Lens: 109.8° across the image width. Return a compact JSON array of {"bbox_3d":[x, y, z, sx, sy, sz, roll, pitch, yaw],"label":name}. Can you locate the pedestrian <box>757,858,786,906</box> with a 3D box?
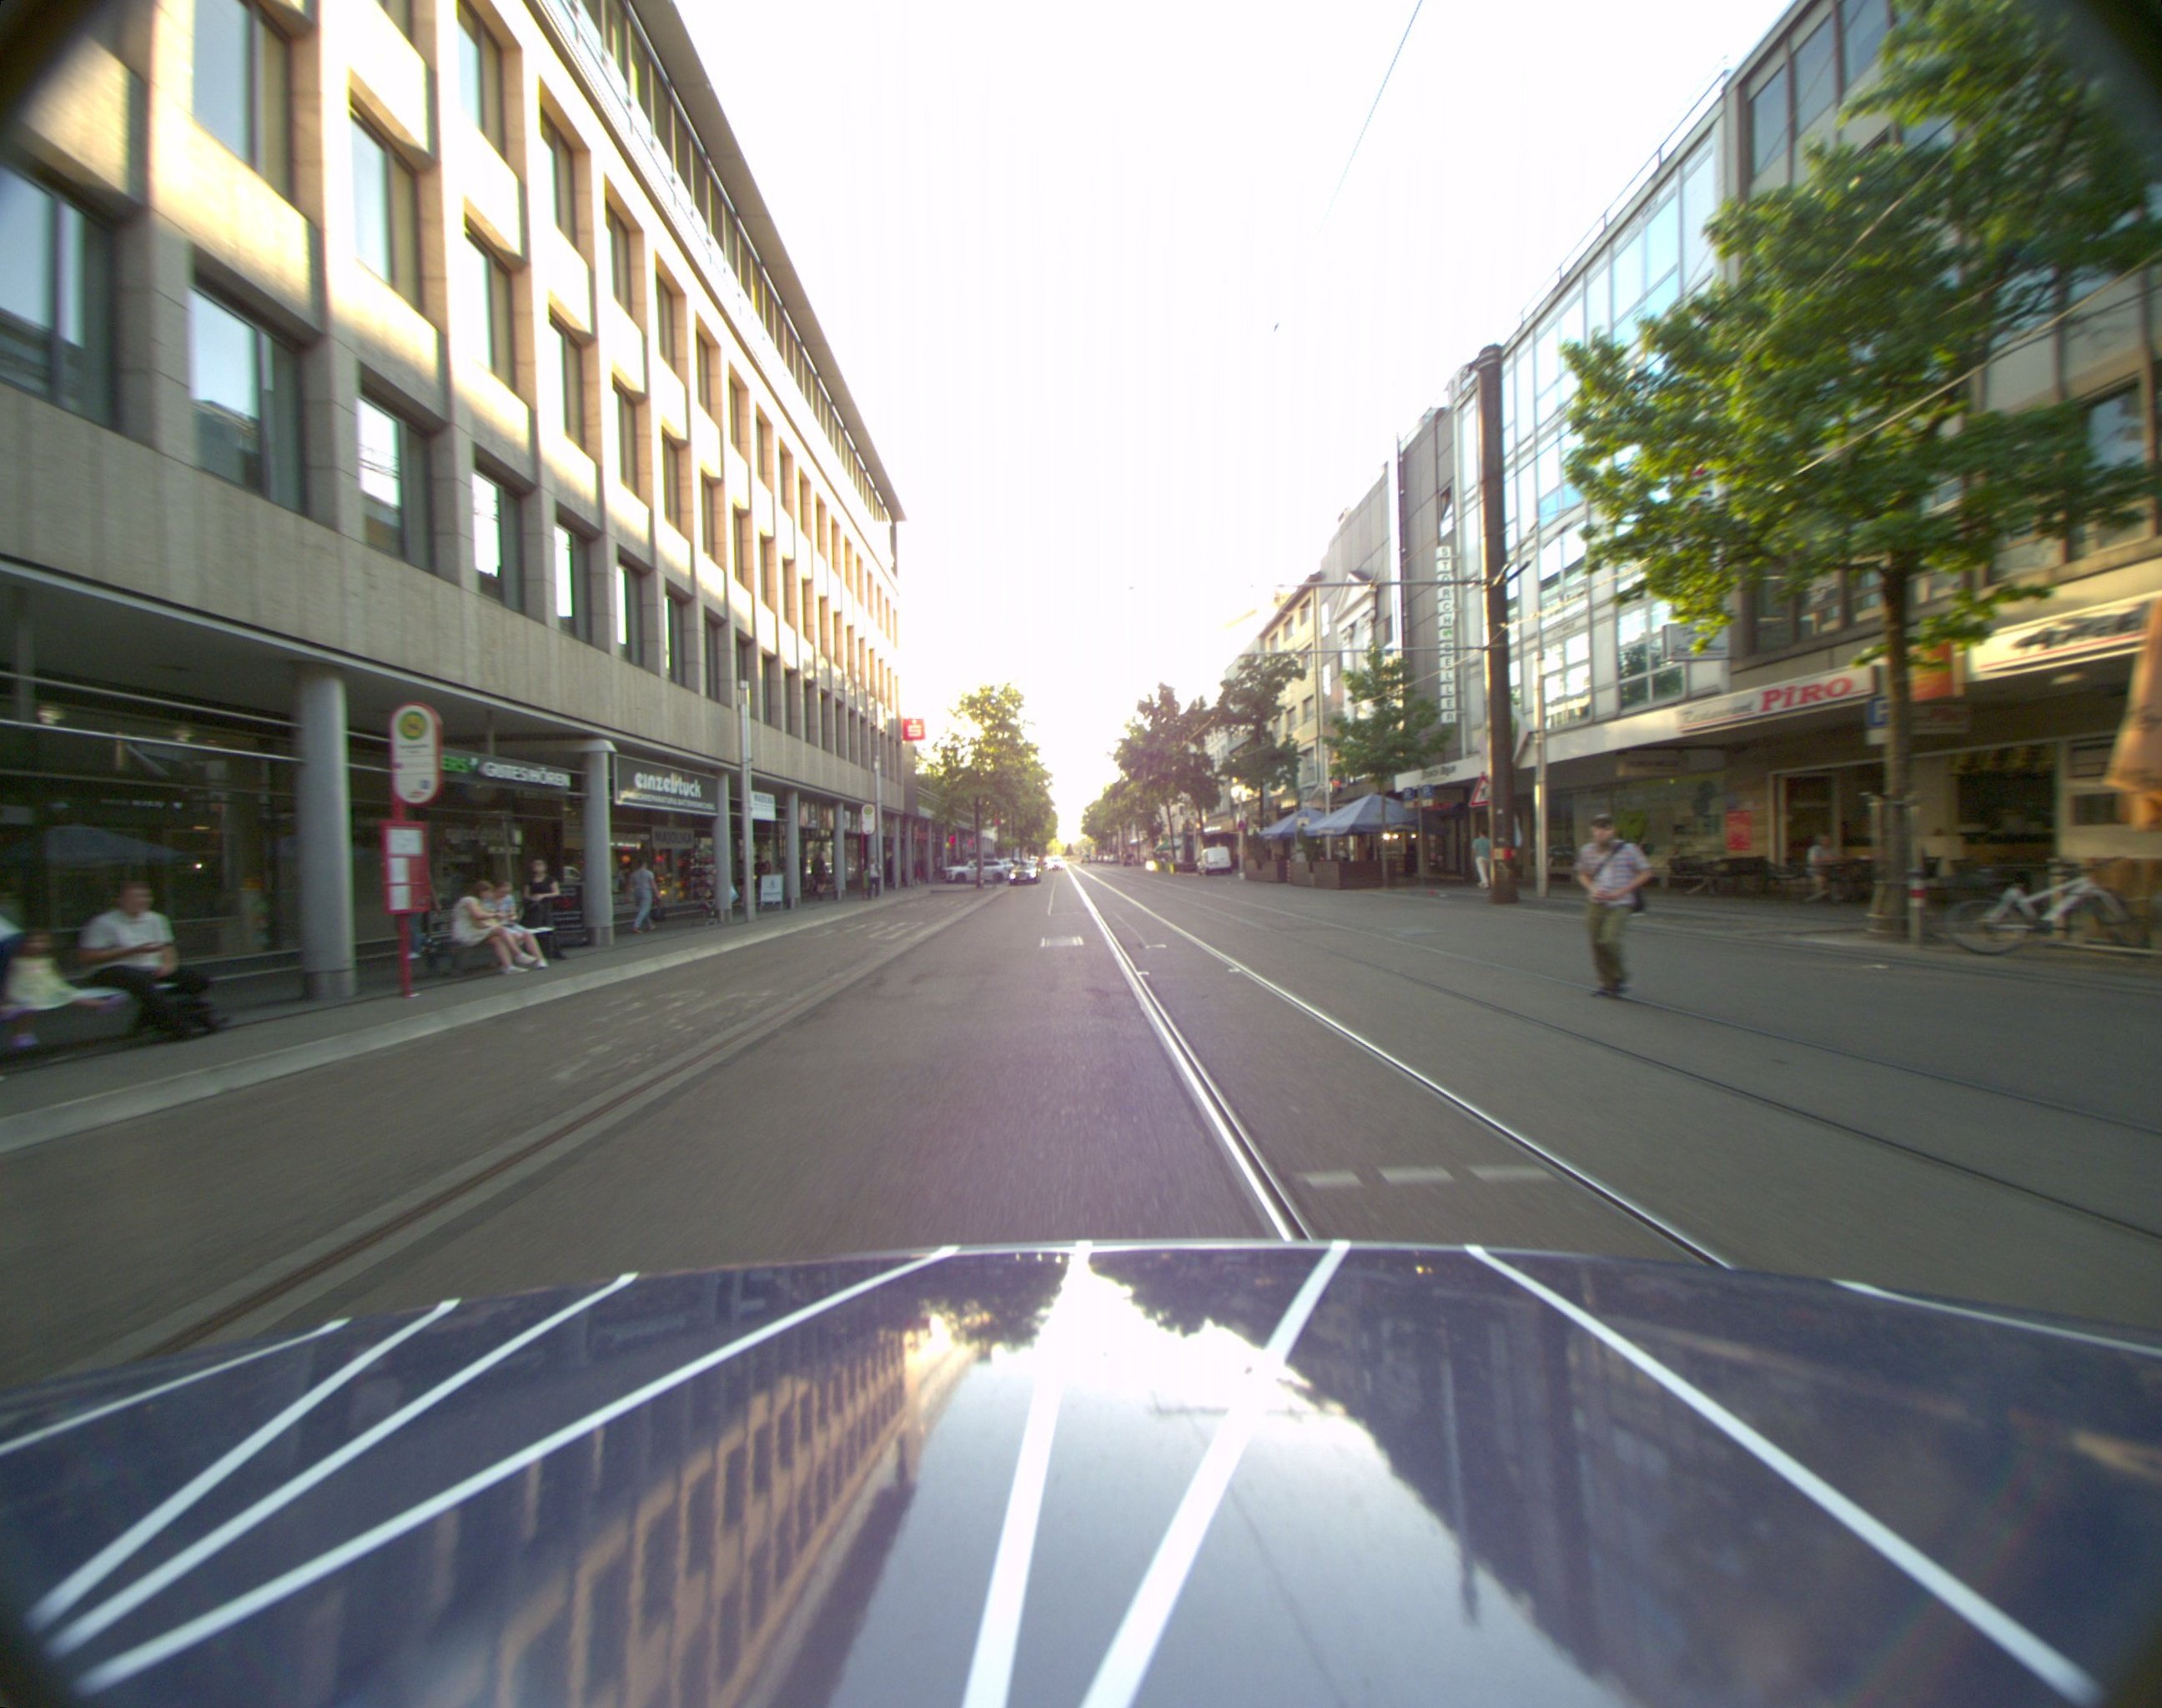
[{"bbox_3d":[-10.722,0.955,26.348,0.682,1.634,0.788,-1,1,-2],"label":"pedestrian"}]

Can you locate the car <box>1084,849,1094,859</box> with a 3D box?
[{"bbox_3d":[1.668,0.068,159.201,1.999,2.002,4.000,-1,0,-1],"label":"car"}]

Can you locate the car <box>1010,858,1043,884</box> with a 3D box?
[{"bbox_3d":[-3.402,1.037,48.067,1.799,1.400,4.564,-3,0,-1],"label":"car"}]

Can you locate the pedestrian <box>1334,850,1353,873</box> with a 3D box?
[{"bbox_3d":[13.520,0.371,39.104,0.642,1.150,0.665,-4,1,-3],"label":"pedestrian"}]

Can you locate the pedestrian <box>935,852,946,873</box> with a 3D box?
[{"bbox_3d":[-11.240,0.668,60.699,0.629,1.681,0.556,-2,2,-45],"label":"pedestrian"}]

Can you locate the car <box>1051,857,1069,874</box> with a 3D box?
[{"bbox_3d":[-2.556,1.373,92.617,1.999,2.002,4.000,-1,0,-1],"label":"car"}]

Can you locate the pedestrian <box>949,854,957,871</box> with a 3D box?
[{"bbox_3d":[-12.164,0.802,72.216,0.558,1.681,0.628,-1,1,-1],"label":"pedestrian"}]

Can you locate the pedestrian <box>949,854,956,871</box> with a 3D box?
[{"bbox_3d":[-12.509,0.800,73.821,0.558,1.681,0.628,-1,1,-1],"label":"pedestrian"}]

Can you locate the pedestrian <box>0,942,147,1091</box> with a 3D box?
[{"bbox_3d":[-8.067,1.251,5.929,0.815,1.036,0.544,-2,1,0],"label":"pedestrian"}]

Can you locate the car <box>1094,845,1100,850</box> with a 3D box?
[{"bbox_3d":[4.833,-2.087,232.816,1.799,1.501,4.000,-1,0,0],"label":"car"}]

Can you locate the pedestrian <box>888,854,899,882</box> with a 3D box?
[{"bbox_3d":[-12.021,0.897,48.689,0.558,1.762,0.628,-1,1,-1],"label":"pedestrian"}]

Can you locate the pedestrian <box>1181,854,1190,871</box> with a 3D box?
[{"bbox_3d":[9.030,0.694,65.808,0.649,1.451,0.651,-1,1,16],"label":"pedestrian"}]

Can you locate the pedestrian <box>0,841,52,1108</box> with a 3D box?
[{"bbox_3d":[-7.728,0.830,5.108,0.641,1.829,0.667,-1,1,0],"label":"pedestrian"}]

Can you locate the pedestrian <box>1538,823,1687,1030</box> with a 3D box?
[{"bbox_3d":[5.100,0.643,7.297,0.992,1.782,0.820,-5,1,-37],"label":"pedestrian"}]

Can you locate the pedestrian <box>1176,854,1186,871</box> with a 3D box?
[{"bbox_3d":[8.536,0.721,65.014,0.648,1.451,0.651,-1,1,29],"label":"pedestrian"}]

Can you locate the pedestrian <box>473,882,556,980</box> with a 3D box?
[{"bbox_3d":[-8.033,1.077,10.790,0.720,1.307,0.524,-2,1,0],"label":"pedestrian"}]

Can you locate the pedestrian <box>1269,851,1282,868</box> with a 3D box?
[{"bbox_3d":[13.523,0.367,52.714,0.650,1.168,0.650,-2,1,-6],"label":"pedestrian"}]

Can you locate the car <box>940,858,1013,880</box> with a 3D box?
[{"bbox_3d":[-7.259,1.039,52.965,4.645,1.431,1.914,0,0,-28],"label":"car"}]

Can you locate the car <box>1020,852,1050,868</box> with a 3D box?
[{"bbox_3d":[-6.034,0.803,99.983,1.860,1.776,4.007,-4,1,34],"label":"car"}]

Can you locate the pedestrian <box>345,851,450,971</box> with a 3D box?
[{"bbox_3d":[-11.139,0.899,12.415,0.846,1.878,0.899,-1,1,-1],"label":"pedestrian"}]

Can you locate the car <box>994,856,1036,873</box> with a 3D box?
[{"bbox_3d":[-7.123,1.109,82.423,4.005,1.501,1.861,-4,1,-31],"label":"car"}]

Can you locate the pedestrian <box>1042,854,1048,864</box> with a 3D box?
[{"bbox_3d":[-5.024,0.691,105.678,0.650,1.451,0.649,-2,1,-18],"label":"pedestrian"}]

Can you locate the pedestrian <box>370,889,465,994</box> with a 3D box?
[{"bbox_3d":[-8.829,1.145,10.125,0.720,1.307,0.532,-2,1,0],"label":"pedestrian"}]

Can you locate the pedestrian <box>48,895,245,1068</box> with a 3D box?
[{"bbox_3d":[-8.133,1.077,6.649,0.815,1.373,0.662,-2,1,0],"label":"pedestrian"}]

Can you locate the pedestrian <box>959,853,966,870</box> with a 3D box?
[{"bbox_3d":[-11.631,0.760,74.652,0.618,1.681,0.628,-1,1,-1],"label":"pedestrian"}]

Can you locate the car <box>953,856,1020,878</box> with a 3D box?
[{"bbox_3d":[-7.131,0.975,57.600,4.646,1.578,1.913,0,0,-35],"label":"car"}]

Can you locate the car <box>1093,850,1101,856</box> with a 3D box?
[{"bbox_3d":[3.784,-0.220,185.552,1.799,1.501,4.000,-1,0,0],"label":"car"}]

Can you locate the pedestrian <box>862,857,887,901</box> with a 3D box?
[{"bbox_3d":[-7.619,0.912,28.094,0.670,1.579,0.638,-3,1,-2],"label":"pedestrian"}]

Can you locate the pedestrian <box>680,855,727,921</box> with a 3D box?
[{"bbox_3d":[-10.512,0.938,21.177,0.846,1.787,0.858,-1,1,-1],"label":"pedestrian"}]

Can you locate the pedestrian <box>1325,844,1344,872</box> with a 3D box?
[{"bbox_3d":[13.617,0.224,40.870,0.662,1.426,0.643,-6,2,-1],"label":"pedestrian"}]

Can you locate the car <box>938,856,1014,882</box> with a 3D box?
[{"bbox_3d":[-6.921,0.992,50.270,4.646,1.619,1.914,1,-2,-33],"label":"car"}]

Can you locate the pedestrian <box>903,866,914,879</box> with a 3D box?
[{"bbox_3d":[-12.202,1.299,53.703,0.627,0.876,0.558,-1,1,-1],"label":"pedestrian"}]

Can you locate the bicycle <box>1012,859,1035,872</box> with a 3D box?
[{"bbox_3d":[-4.769,0.966,63.324,1.861,1.067,0.734,-2,-1,34],"label":"bicycle"}]

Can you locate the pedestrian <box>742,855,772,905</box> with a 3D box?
[{"bbox_3d":[-11.693,0.922,27.452,0.675,1.762,0.863,-1,1,-2],"label":"pedestrian"}]

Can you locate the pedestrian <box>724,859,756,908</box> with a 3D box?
[{"bbox_3d":[-11.656,0.987,26.024,0.712,1.634,0.818,-1,1,-2],"label":"pedestrian"}]

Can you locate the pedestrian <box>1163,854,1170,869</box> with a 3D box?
[{"bbox_3d":[8.116,0.706,72.241,0.649,1.378,0.650,-1,1,6],"label":"pedestrian"}]

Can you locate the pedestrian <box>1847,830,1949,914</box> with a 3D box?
[{"bbox_3d":[13.805,0.292,12.866,0.672,1.318,0.912,-4,1,-2],"label":"pedestrian"}]

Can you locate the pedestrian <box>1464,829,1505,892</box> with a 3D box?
[{"bbox_3d":[12.055,0.185,22.719,0.685,1.782,0.990,-4,1,6],"label":"pedestrian"}]

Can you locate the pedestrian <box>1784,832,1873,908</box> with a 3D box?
[{"bbox_3d":[13.749,0.284,14.005,0.672,1.318,0.912,-4,1,-2],"label":"pedestrian"}]

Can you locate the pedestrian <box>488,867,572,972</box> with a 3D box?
[{"bbox_3d":[-8.576,0.992,11.846,0.726,1.561,0.736,-1,1,1],"label":"pedestrian"}]

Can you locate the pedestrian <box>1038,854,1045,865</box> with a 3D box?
[{"bbox_3d":[-5.357,0.729,103.052,0.650,1.451,0.649,-2,1,-18],"label":"pedestrian"}]

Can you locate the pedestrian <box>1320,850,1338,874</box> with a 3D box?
[{"bbox_3d":[12.711,0.405,38.946,0.642,1.150,0.665,-4,1,-3],"label":"pedestrian"}]

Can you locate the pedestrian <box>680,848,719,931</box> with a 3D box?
[{"bbox_3d":[-9.105,0.824,18.143,0.579,1.933,0.655,-1,1,-1],"label":"pedestrian"}]

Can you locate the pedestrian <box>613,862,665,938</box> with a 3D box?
[{"bbox_3d":[-9.906,1.011,17.053,0.689,1.652,0.722,-1,1,0],"label":"pedestrian"}]

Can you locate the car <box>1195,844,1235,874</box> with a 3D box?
[{"bbox_3d":[9.101,0.323,51.936,1.831,1.811,4.329,-4,0,1],"label":"car"}]

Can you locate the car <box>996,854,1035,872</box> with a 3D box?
[{"bbox_3d":[-7.516,1.031,87.185,4.004,1.776,1.861,-4,1,-25],"label":"car"}]

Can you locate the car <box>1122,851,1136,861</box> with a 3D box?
[{"bbox_3d":[7.117,0.328,113.607,1.799,1.501,4.000,-1,0,0],"label":"car"}]

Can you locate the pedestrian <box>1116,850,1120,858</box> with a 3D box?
[{"bbox_3d":[6.978,-0.013,144.076,0.650,1.451,0.650,-2,1,-2],"label":"pedestrian"}]

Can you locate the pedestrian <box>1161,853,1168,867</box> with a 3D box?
[{"bbox_3d":[8.483,0.643,77.381,0.649,1.378,0.650,-1,1,6],"label":"pedestrian"}]

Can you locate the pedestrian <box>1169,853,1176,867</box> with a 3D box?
[{"bbox_3d":[9.181,0.626,76.183,0.649,1.378,0.650,-1,1,6],"label":"pedestrian"}]

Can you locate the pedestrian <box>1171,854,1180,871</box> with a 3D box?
[{"bbox_3d":[8.232,0.725,65.949,0.650,1.451,0.650,-2,1,0],"label":"pedestrian"}]

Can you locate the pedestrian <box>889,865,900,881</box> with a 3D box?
[{"bbox_3d":[-12.180,1.243,49.735,0.628,1.030,0.557,-1,1,-9],"label":"pedestrian"}]

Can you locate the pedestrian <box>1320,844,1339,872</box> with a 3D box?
[{"bbox_3d":[13.592,0.218,41.589,0.662,1.426,0.643,-6,2,-1],"label":"pedestrian"}]

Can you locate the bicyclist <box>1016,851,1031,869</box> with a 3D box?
[{"bbox_3d":[-4.785,0.508,63.329,0.895,1.406,0.763,-2,-1,34],"label":"bicyclist"}]

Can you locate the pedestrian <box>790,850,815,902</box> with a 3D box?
[{"bbox_3d":[-10.113,0.786,27.593,0.618,1.878,0.683,-1,1,0],"label":"pedestrian"}]

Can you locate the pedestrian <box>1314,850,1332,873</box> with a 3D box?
[{"bbox_3d":[12.724,0.394,40.021,0.642,1.150,0.665,-4,1,-3],"label":"pedestrian"}]

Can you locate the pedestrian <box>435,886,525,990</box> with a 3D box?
[{"bbox_3d":[-8.089,1.114,10.250,0.720,1.307,0.532,-2,1,0],"label":"pedestrian"}]

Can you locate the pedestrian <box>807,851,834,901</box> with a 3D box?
[{"bbox_3d":[-9.894,0.833,28.897,0.708,1.878,0.796,-1,1,0],"label":"pedestrian"}]

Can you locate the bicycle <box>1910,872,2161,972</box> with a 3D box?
[{"bbox_3d":[10.272,0.734,8.206,1.774,0.960,0.490,-3,1,16],"label":"bicycle"}]
